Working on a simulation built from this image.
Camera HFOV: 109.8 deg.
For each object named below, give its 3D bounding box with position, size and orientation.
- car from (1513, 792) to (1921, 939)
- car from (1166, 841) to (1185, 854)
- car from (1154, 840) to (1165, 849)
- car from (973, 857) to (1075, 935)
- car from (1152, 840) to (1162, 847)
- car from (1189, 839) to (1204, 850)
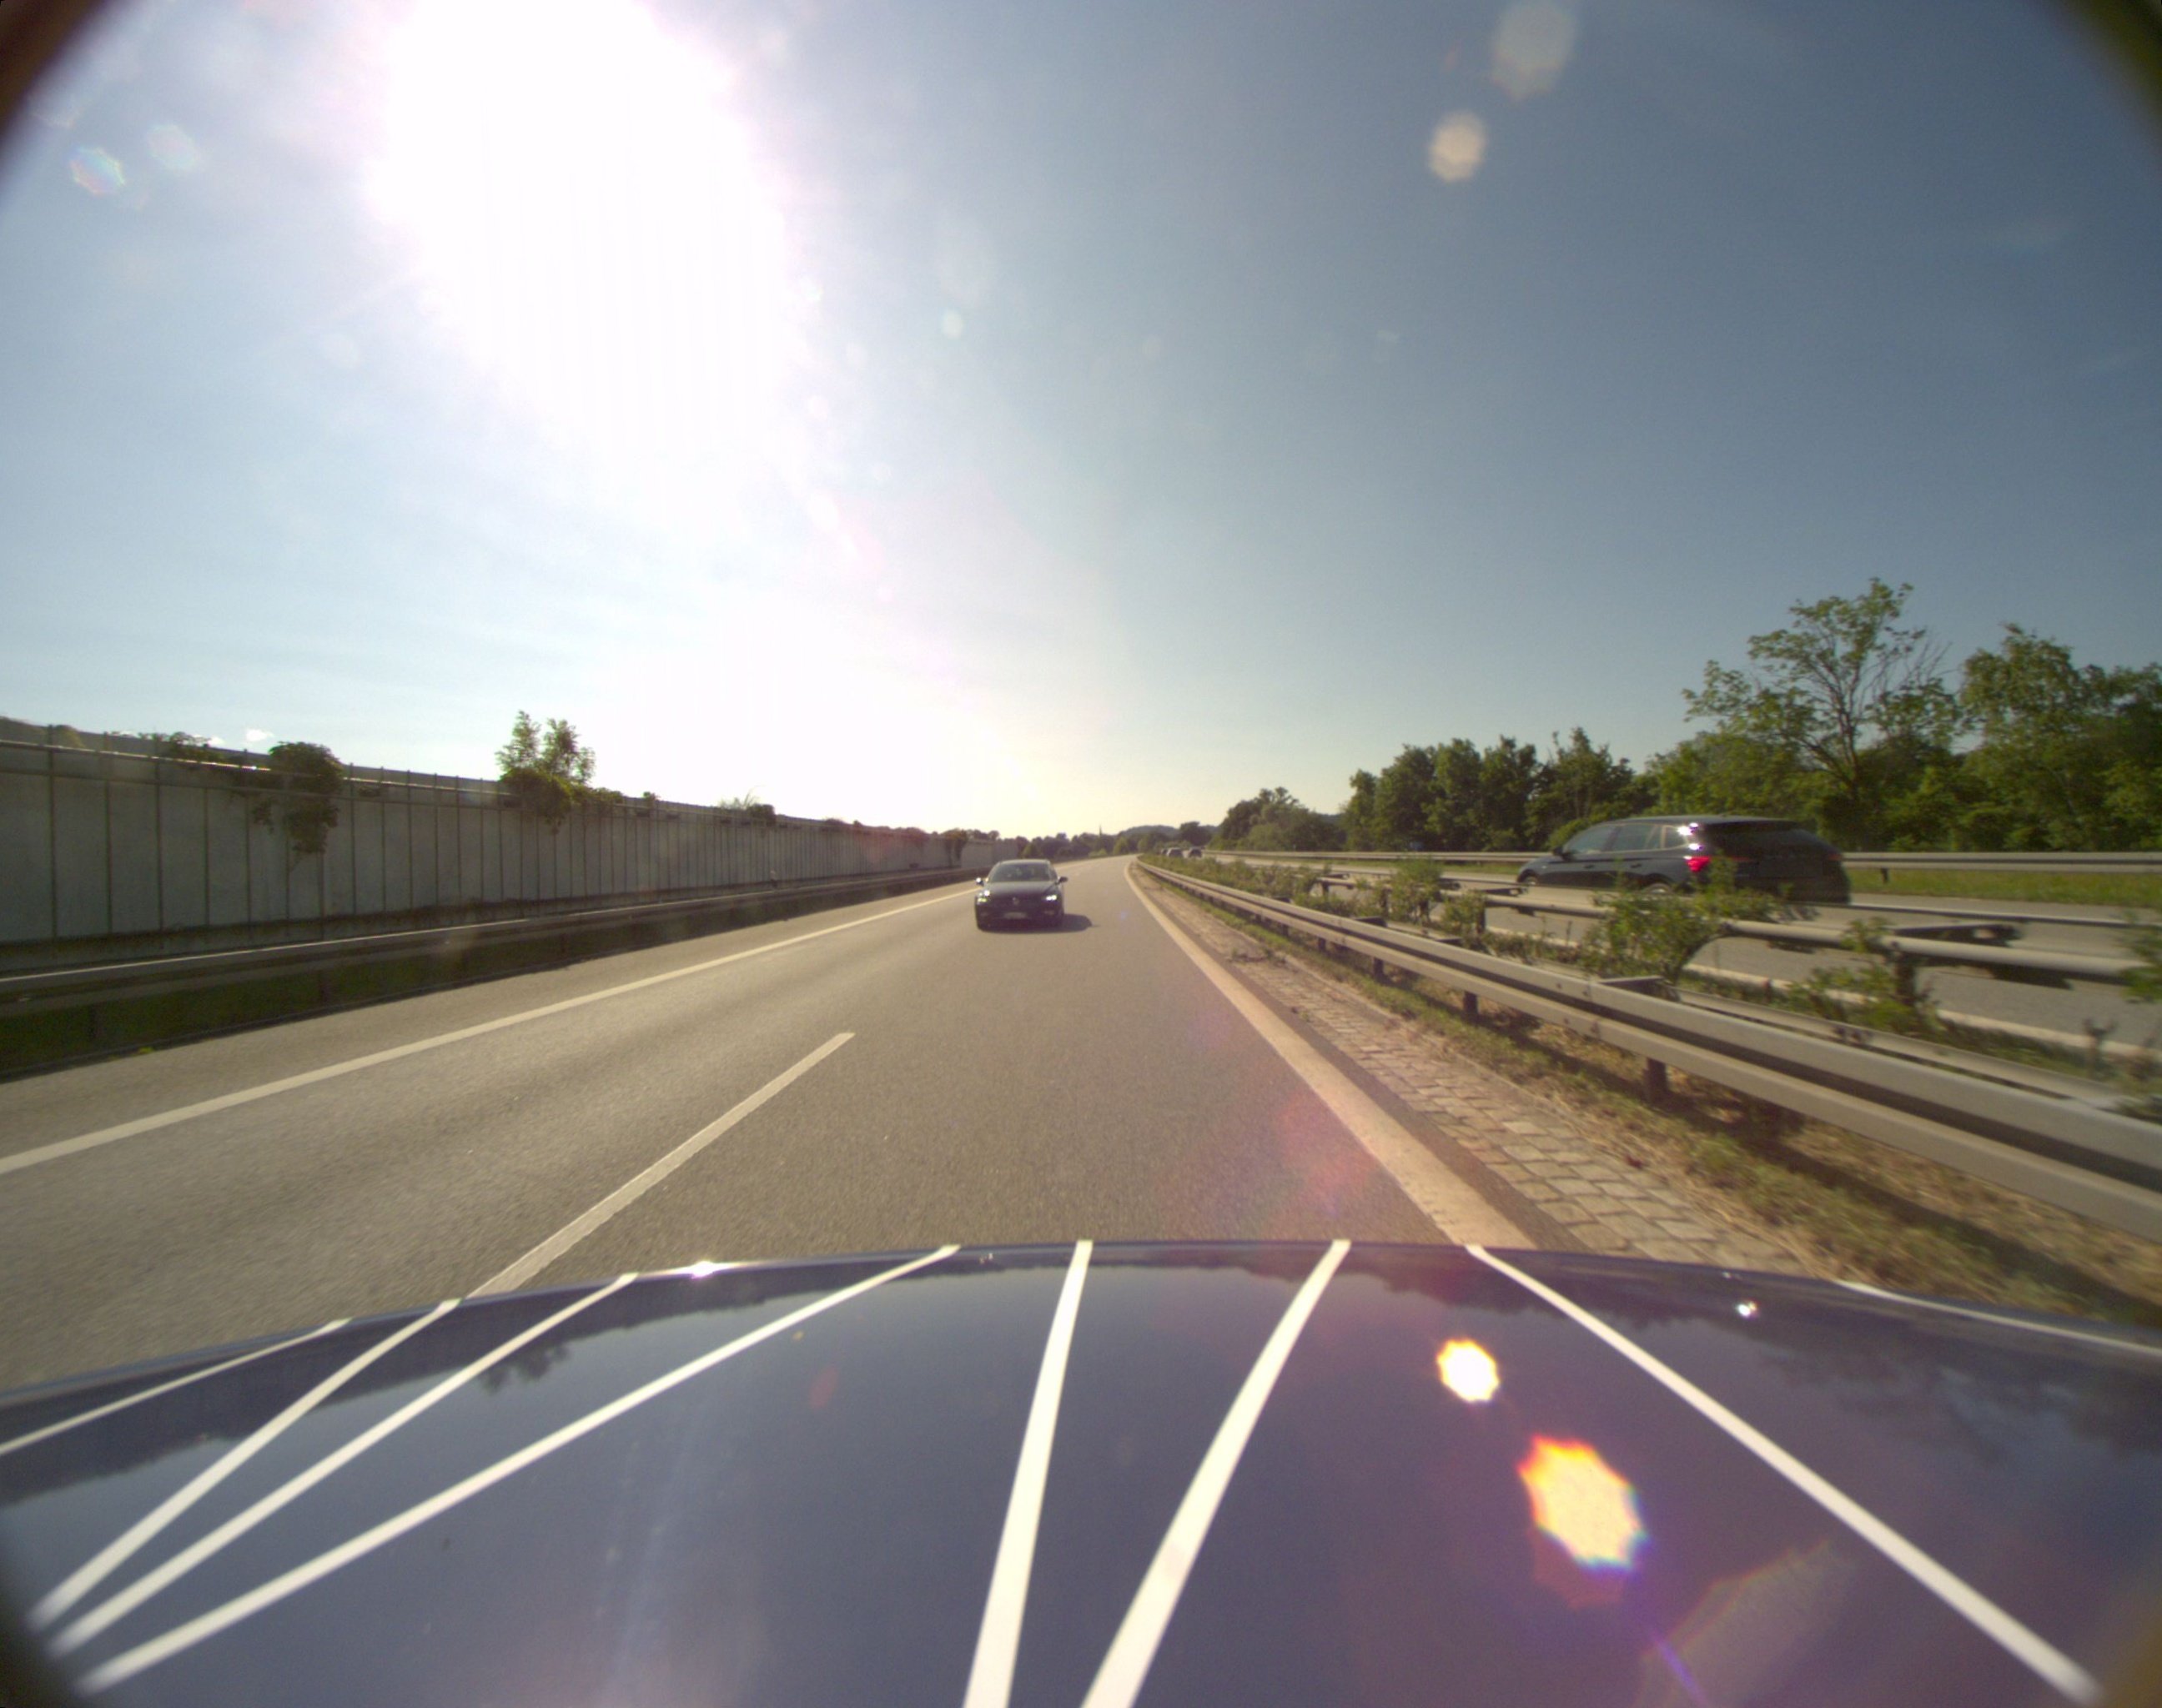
[{"bbox_3d":[7.612,0.106,9.767,1.663,1.442,4.246,-1,0,0],"label":"car"},{"bbox_3d":[11.364,-0.820,91.634,1.936,1.496,4.794,-1,1,3],"label":"car"},{"bbox_3d":[13.963,-1.746,135.355,1.857,1.474,4.001,-2,1,6],"label":"car"},{"bbox_3d":[-1.186,0.877,17.740,1.722,1.392,4.413,-3,1,3],"label":"car"},{"bbox_3d":[16.650,-2.330,166.616,1.936,1.496,4.794,-1,1,3],"label":"car"},{"bbox_3d":[17.738,-1.443,116.956,1.857,1.625,4.494,-2,1,3],"label":"car"}]
